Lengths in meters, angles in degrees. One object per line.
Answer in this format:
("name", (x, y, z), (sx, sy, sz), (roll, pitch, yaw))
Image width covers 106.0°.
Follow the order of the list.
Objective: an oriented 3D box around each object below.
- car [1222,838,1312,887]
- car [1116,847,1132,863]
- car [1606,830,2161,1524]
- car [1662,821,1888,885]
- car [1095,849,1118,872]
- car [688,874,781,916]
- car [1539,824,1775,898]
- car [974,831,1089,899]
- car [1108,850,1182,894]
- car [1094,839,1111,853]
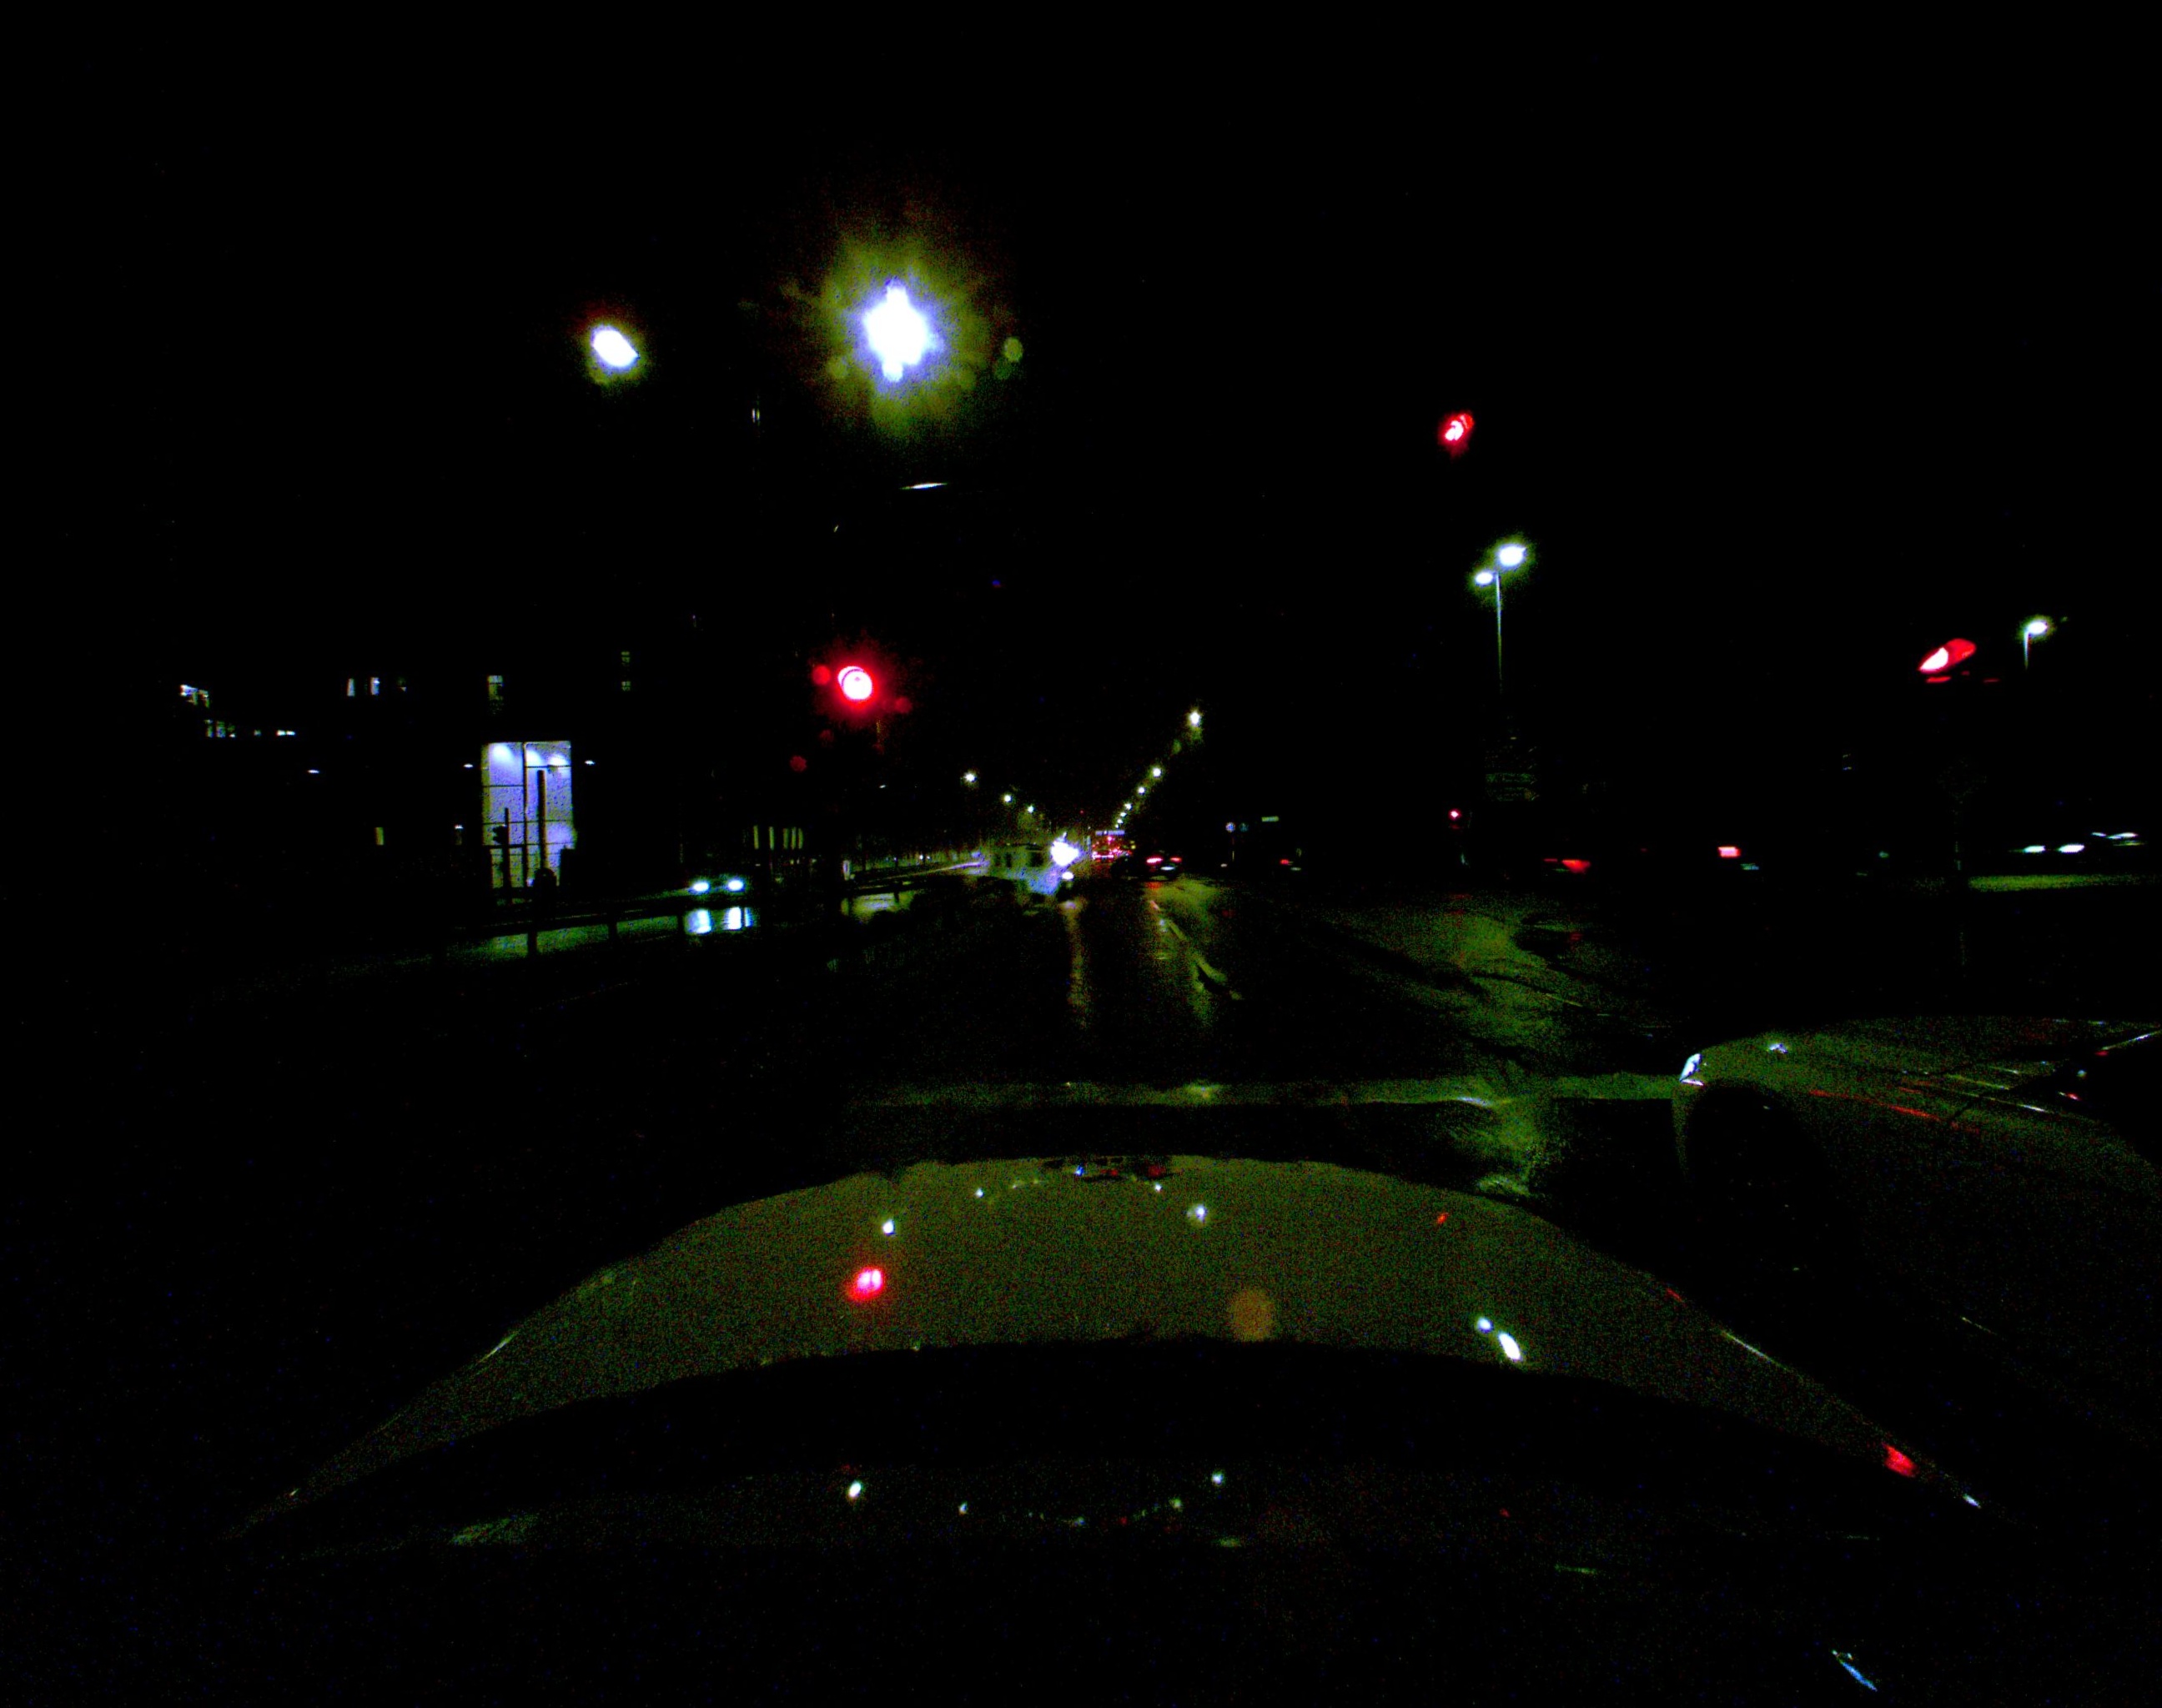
("car", (8.968, 0.416, 39.397), (3.597, 2.215, 2.228), (-2, -1, 44))
("car", (5.644, 0.135, 107.130), (2.029, 2.014, 4.311), (-1, -1, 4))
("car", (3.125, 0.663, 1.311), (1.714, 1.446, 4.383), (-3, -1, 1))
("car", (19.229, -0.002, 22.774), (4.474, 1.618, 1.912), (-1, -1, 8))
("car", (2.386, 0.611, 76.323), (2.030, 2.082, 4.309), (-1, -1, 2))
("car", (-13.448, 1.566, 31.895), (1.817, 1.464, 4.001), (-1, -1, 2))
("car", (14.153, 0.190, 20.249), (4.379, 1.672, 1.962), (-1, -1, 6))
("car", (-1.608, 0.352, 25.868), (1.714, 2.014, 3.523), (0, -1, -45))
("car", (3.081, 0.862, 39.938), (2.002, 2.014, 3.969), (-1, -1, -23))
("car", (3.558, -1.329, 135.820), (2.434, 2.194, 5.076), (-1, -1, -1))
